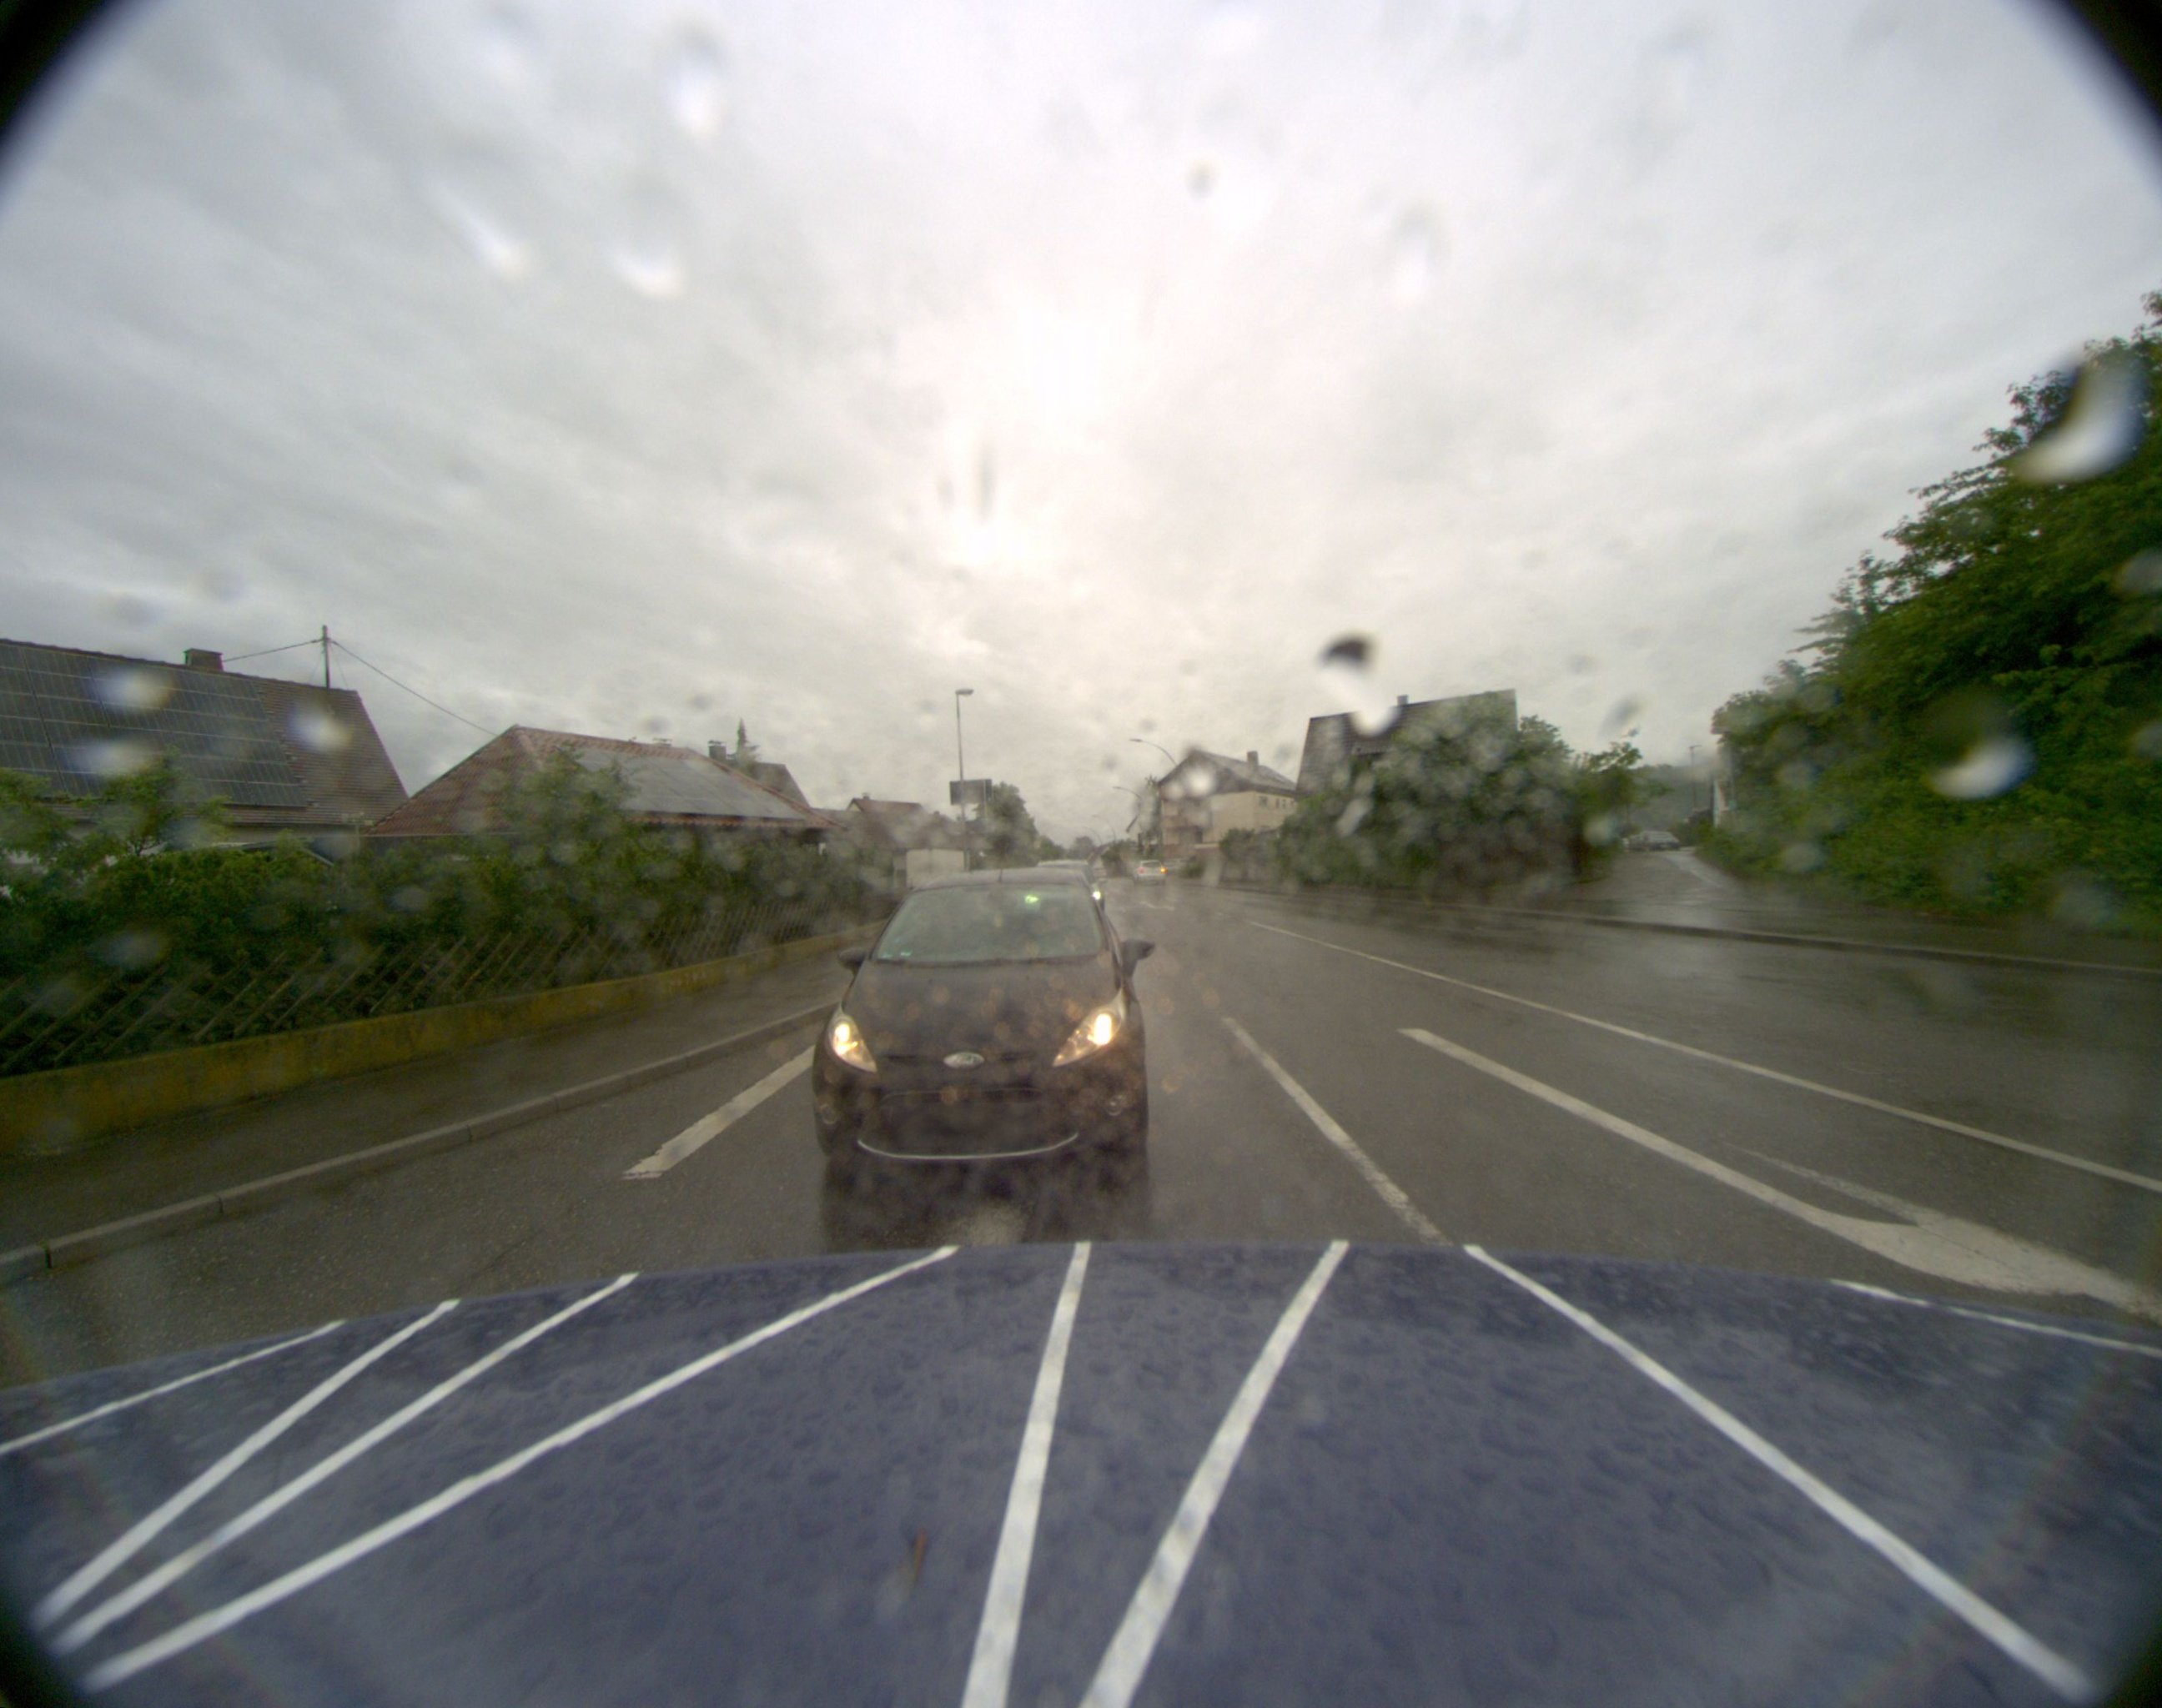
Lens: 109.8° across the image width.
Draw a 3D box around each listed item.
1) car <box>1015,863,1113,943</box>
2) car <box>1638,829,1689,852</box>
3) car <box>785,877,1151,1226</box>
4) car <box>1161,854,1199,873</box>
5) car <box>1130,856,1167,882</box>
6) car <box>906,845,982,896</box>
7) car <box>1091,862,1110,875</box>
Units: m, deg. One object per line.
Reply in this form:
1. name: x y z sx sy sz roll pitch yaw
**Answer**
1. car: -0.422 0.995 17.038 1.899 1.474 3.999 -2 0 -3
2. car: 40.641 -0.929 53.104 1.895 1.474 4.006 -2 0 24
3. car: -0.573 0.988 5.554 1.666 1.410 3.931 -2 1 -1
4. car: 8.794 0.813 67.033 1.661 1.538 4.007 -1 1 34
5. car: 4.194 0.909 47.709 1.625 1.496 3.820 -1 0 -5
6. car: -6.924 0.795 38.760 1.650 2.337 4.006 -2 1 27
7. car: 2.381 1.782 93.121 1.669 1.496 4.319 -3 0 -6
